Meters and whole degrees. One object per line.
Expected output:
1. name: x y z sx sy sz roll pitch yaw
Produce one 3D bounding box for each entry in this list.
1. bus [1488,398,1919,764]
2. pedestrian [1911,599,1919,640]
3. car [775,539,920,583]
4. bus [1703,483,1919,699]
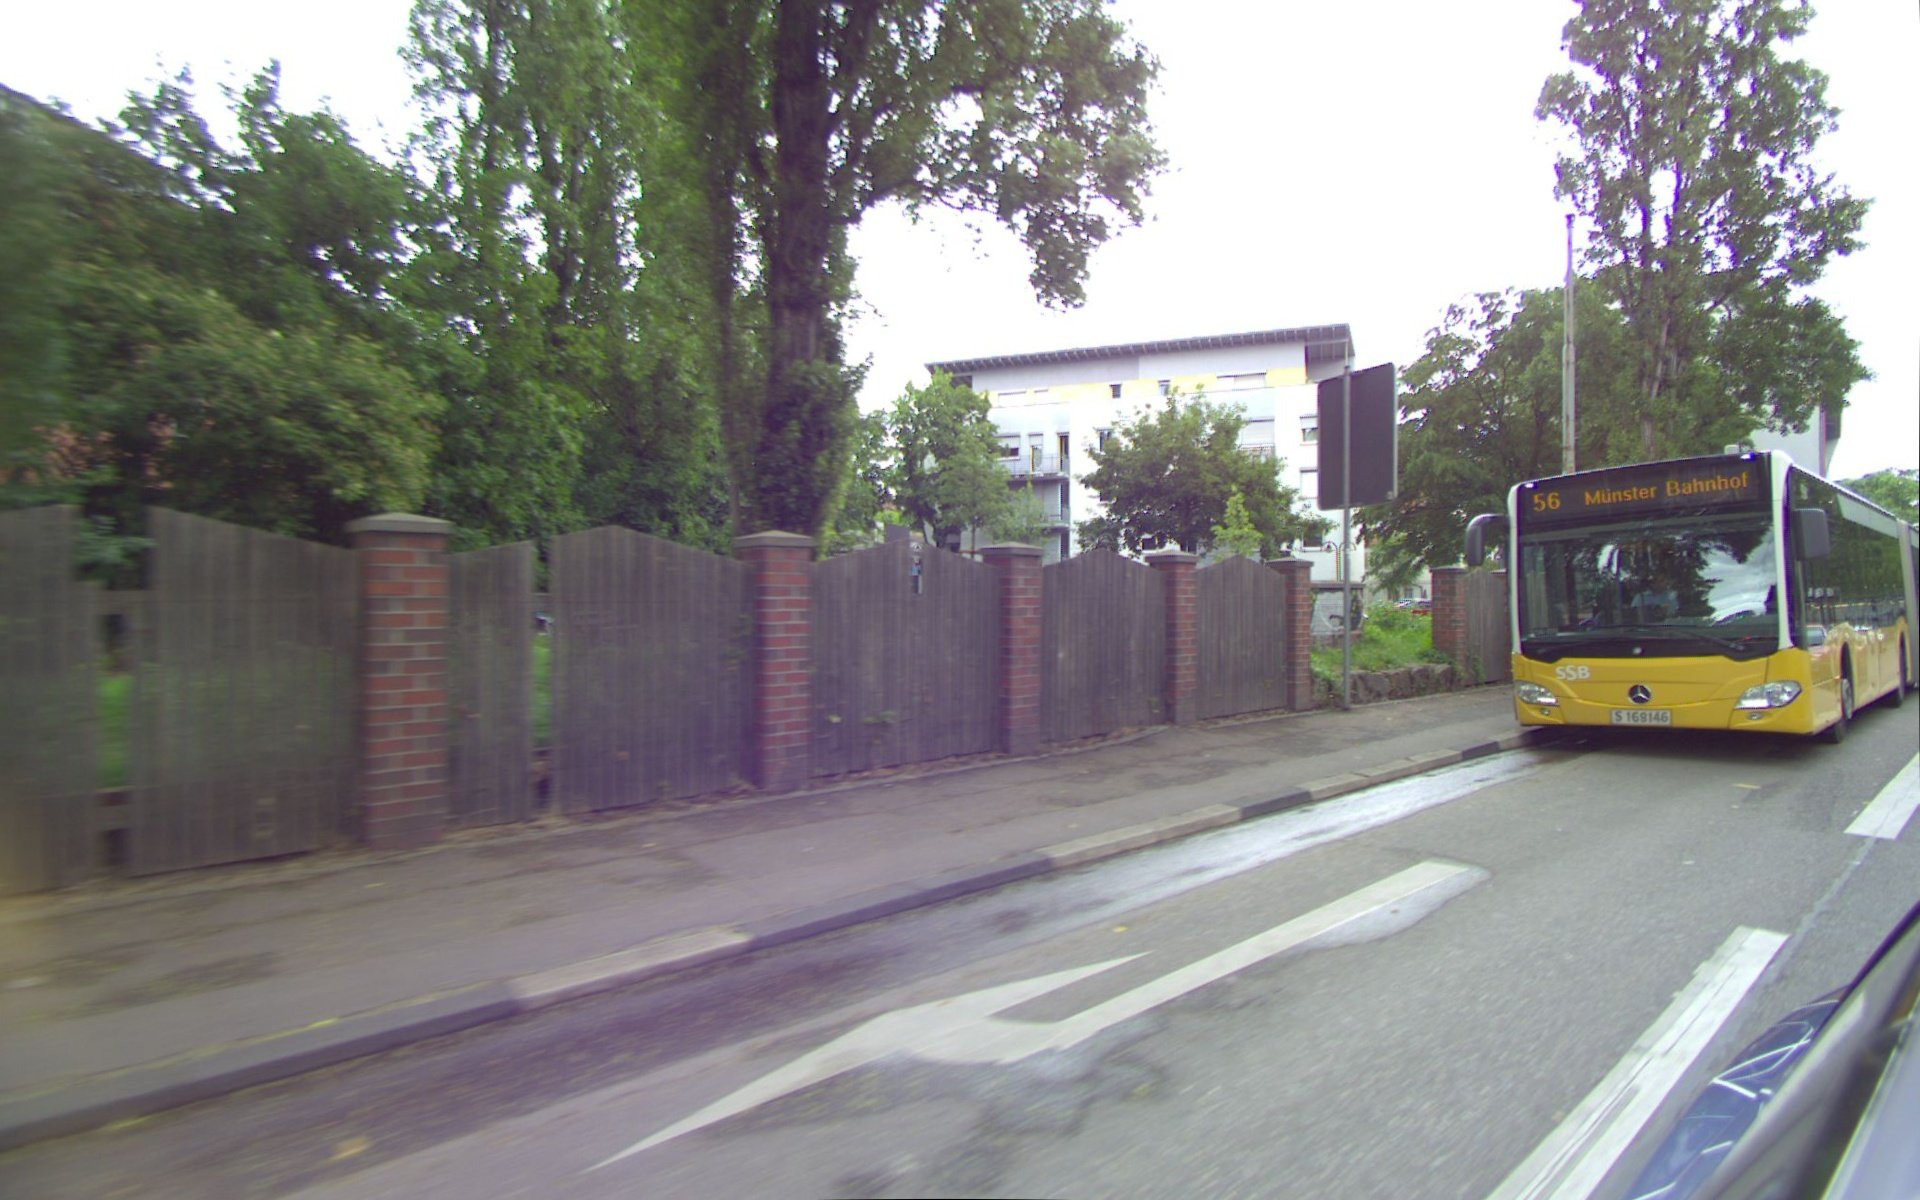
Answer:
1. bus: 9.965 -0.100 12.809 9.058 3.179 2.675 0 -3 -42
2. pedestrian: 43.593 0.895 45.752 0.803 1.816 0.928 2 0 42
3. car: -4.452 -1.533 40.020 5.501 1.609 1.984 0 2 25
4. bus: 16.996 -0.063 19.109 9.866 3.177 2.665 0 -3 -42
